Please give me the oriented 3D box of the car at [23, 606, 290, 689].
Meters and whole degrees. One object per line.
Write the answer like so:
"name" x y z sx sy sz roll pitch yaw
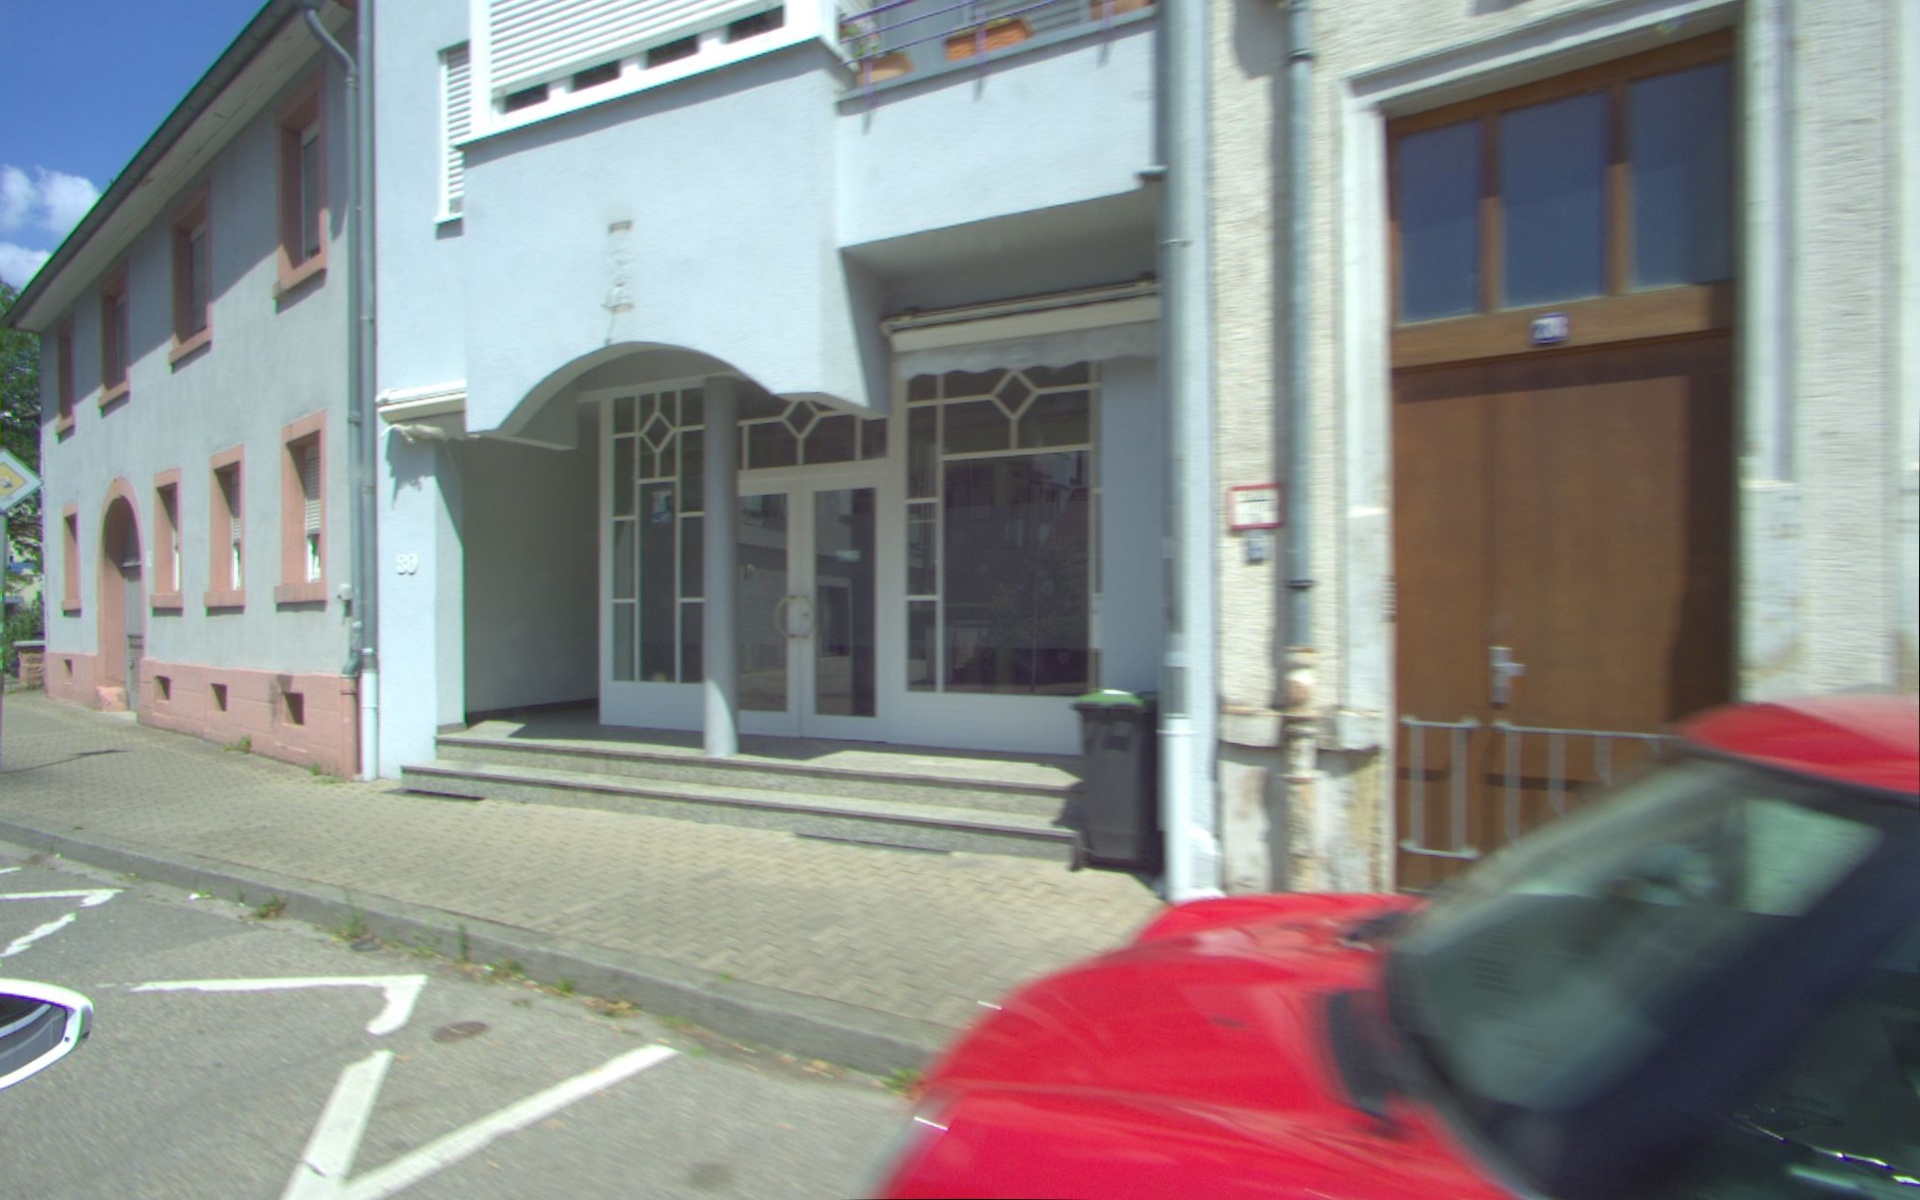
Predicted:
"car" -17.594 0.981 22.136 1.718 1.550 4.256 -2 0 33

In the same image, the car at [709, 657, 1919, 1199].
"car" 1.541 0.830 1.317 3.484 1.403 1.617 -1 -1 29

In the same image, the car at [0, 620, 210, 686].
"car" -20.743 1.233 24.381 1.716 1.468 3.594 -1 -1 30

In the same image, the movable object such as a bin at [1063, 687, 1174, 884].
"movable object such as a bin" 0.852 0.960 5.345 0.480 0.947 0.473 0 0 23
